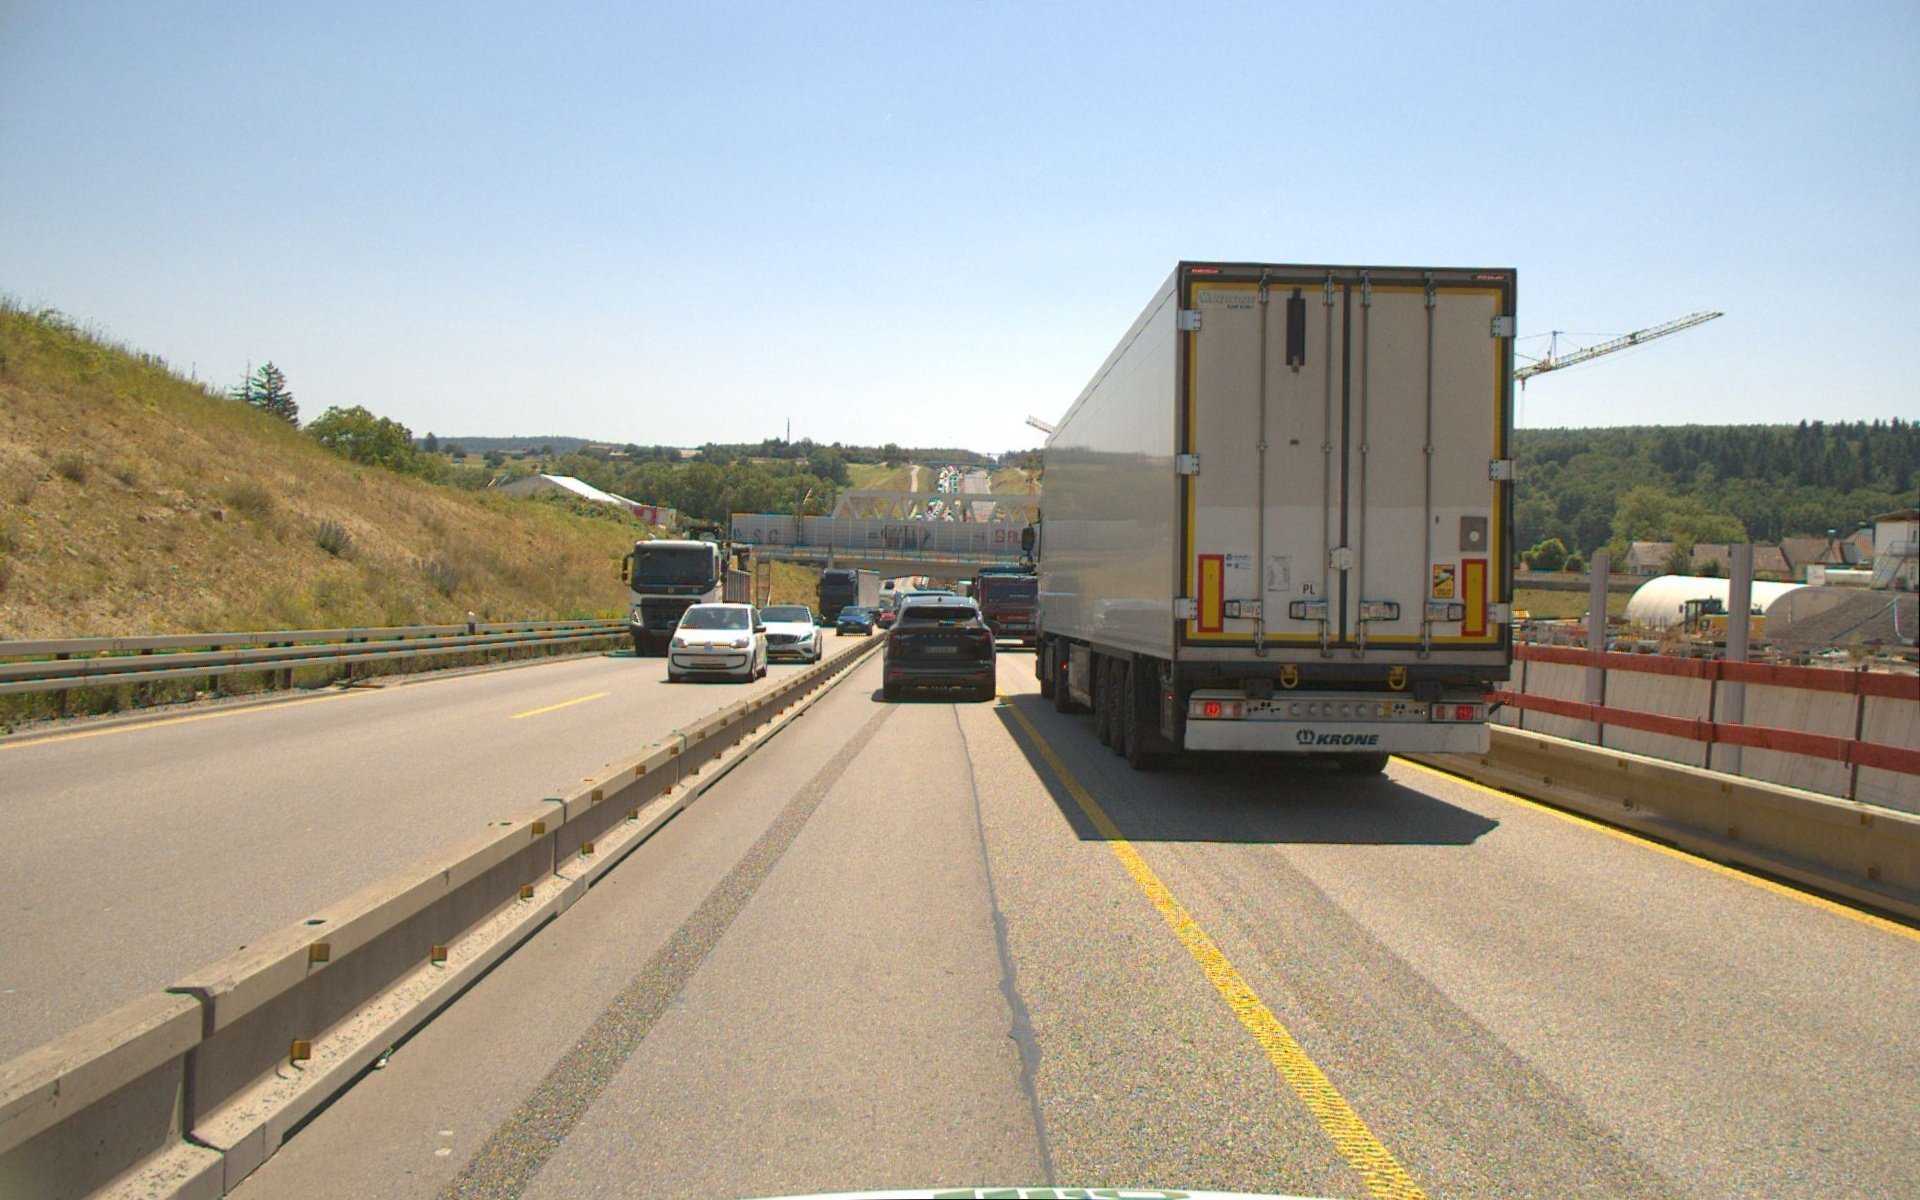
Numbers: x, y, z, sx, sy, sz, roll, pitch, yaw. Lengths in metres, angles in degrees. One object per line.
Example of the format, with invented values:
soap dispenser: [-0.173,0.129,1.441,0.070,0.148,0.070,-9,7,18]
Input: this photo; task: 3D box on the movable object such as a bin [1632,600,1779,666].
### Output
movable object such as a bin: [36.134,1.516,80.612,2.829,2.960,9.478,1,0,0]

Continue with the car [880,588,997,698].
car: [-0.349,0.648,26.915,1.764,1.648,3.297,1,0,-1]

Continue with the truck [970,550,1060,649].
truck: [1.856,0.006,60.690,2.756,3.190,12.836,1,0,0]

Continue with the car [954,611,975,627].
car: [0.356,1.512,134.198,1.508,1.227,3.309,1,0,-3]

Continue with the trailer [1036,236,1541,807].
trailer: [2.733,-0.529,19.123,2.745,4.129,14.112,1,0,-1]

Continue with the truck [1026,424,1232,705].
truck: [2.610,-0.513,26.928,2.720,4.129,4.903,1,0,-1]

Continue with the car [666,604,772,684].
car: [-4.584,0.810,31.869,1.650,1.455,3.291,1,0,-2]

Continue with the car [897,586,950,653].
car: [-1.028,0.541,47.198,1.444,1.826,3.297,0,0,0]

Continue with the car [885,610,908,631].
car: [-4.653,1.496,121.511,1.558,1.513,3.294,1,0,-1]

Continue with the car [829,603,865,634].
car: [-5.493,0.897,80.720,1.650,1.455,3.848,1,0,-2]

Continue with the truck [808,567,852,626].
truck: [-9.032,-0.219,115.321,2.711,3.952,4.963,1,0,-1]

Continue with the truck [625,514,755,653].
truck: [-7.986,-0.433,50.005,2.534,3.788,9.330,1,0,-1]

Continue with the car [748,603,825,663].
car: [-4.390,0.811,42.251,1.650,1.455,4.120,1,0,-2]

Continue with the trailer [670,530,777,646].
trailer: [-8.142,-0.379,57.967,2.534,3.701,9.076,1,0,-1]

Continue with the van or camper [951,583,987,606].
van or camper: [1.374,-0.893,254.444,3.873,3.479,8.383,1,0,-11]

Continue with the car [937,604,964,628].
car: [-0.556,0.926,99.010,1.461,1.354,3.242,2,0,-2]

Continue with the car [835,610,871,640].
car: [-5.207,1.201,81.093,1.655,1.427,3.685,0,0,-2]

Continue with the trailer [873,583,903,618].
trailer: [-6.366,0.052,147.026,2.222,2.933,13.039,1,0,-1]
